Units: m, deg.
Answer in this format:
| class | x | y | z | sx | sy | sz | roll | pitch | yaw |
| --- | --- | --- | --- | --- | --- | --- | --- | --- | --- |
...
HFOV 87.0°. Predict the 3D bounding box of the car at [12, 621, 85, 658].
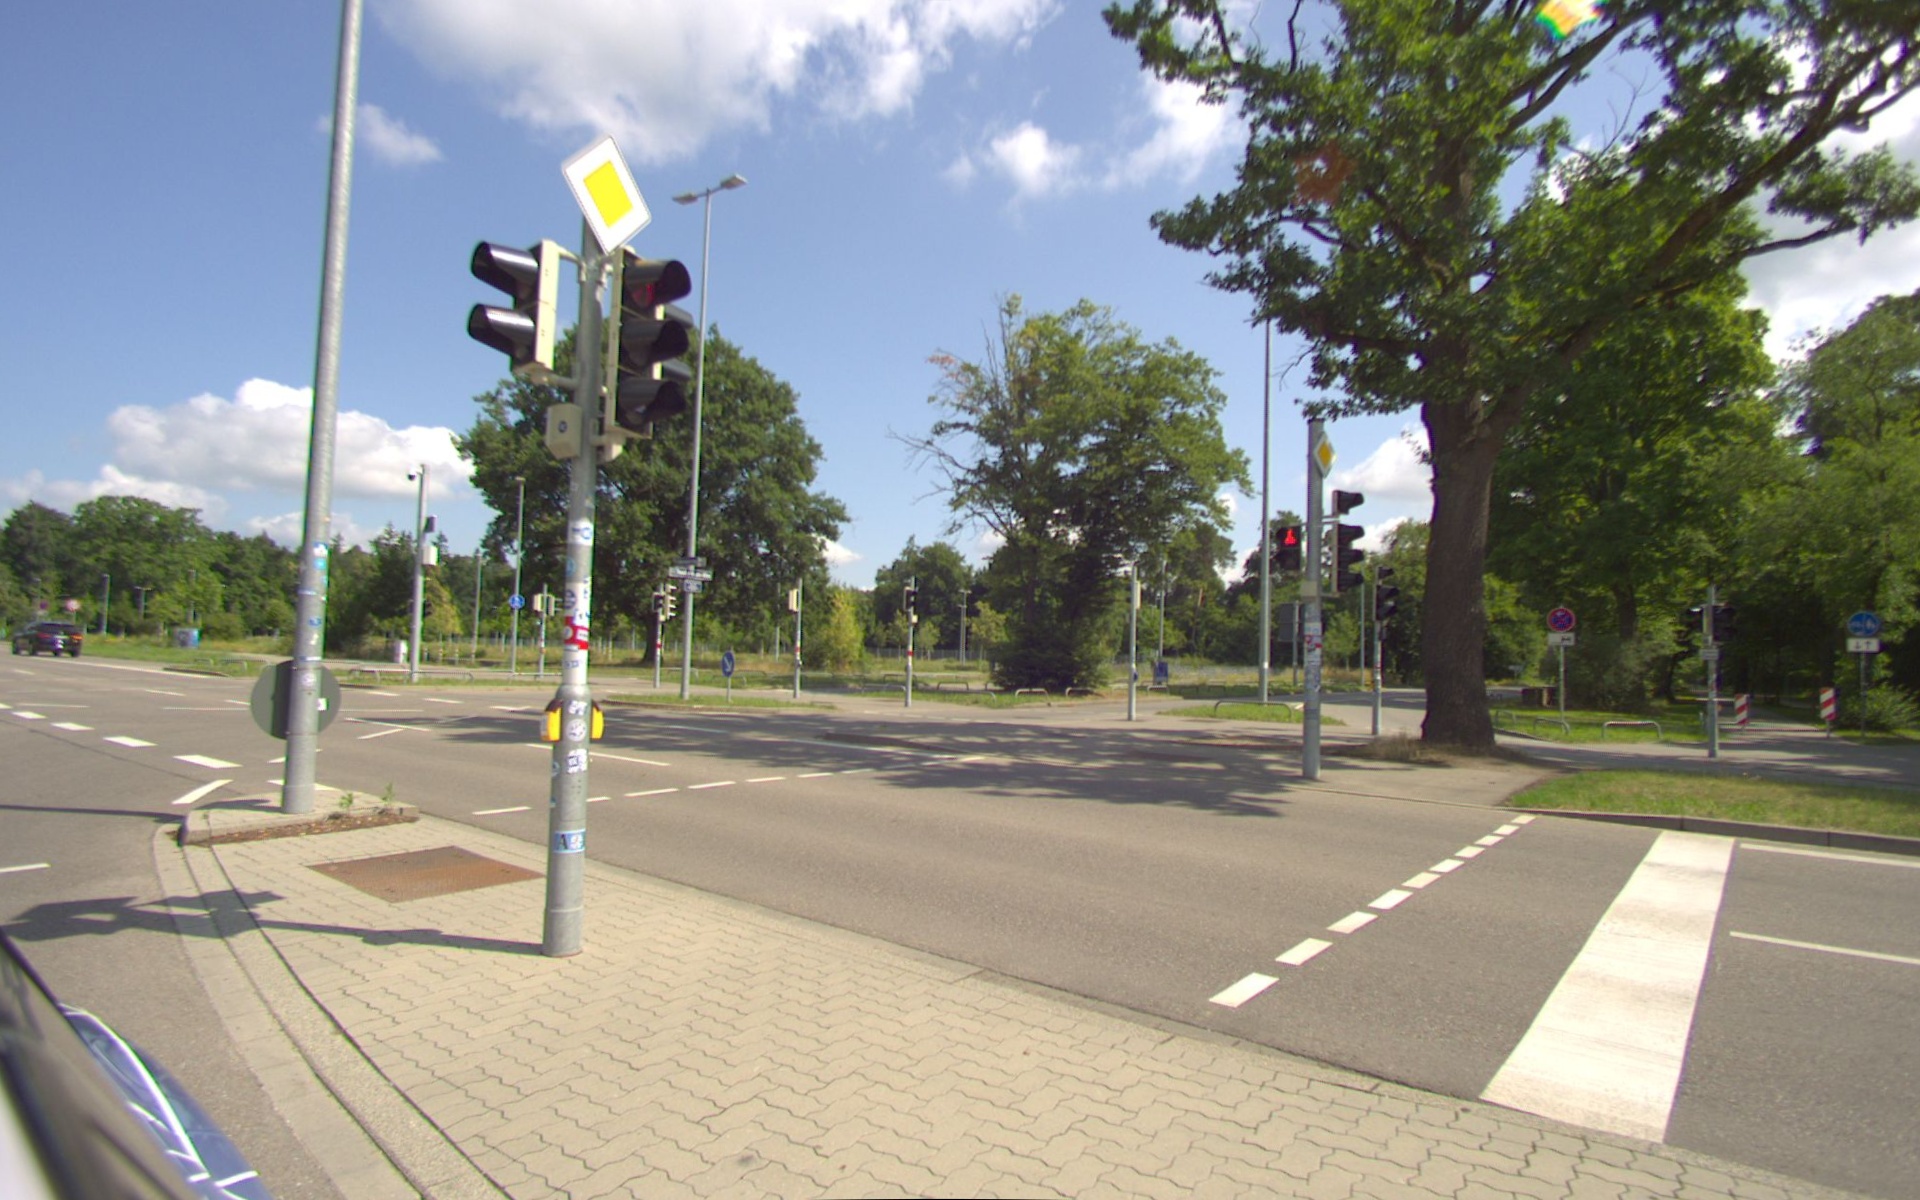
| class | x | y | z | sx | sy | sz | roll | pitch | yaw |
| --- | --- | --- | --- | --- | --- | --- | --- | --- | --- |
| car | -45.596 | 1.977 | 50.578 | 4.702 | 1.778 | 1.956 | -2 | -4 | 39 |
